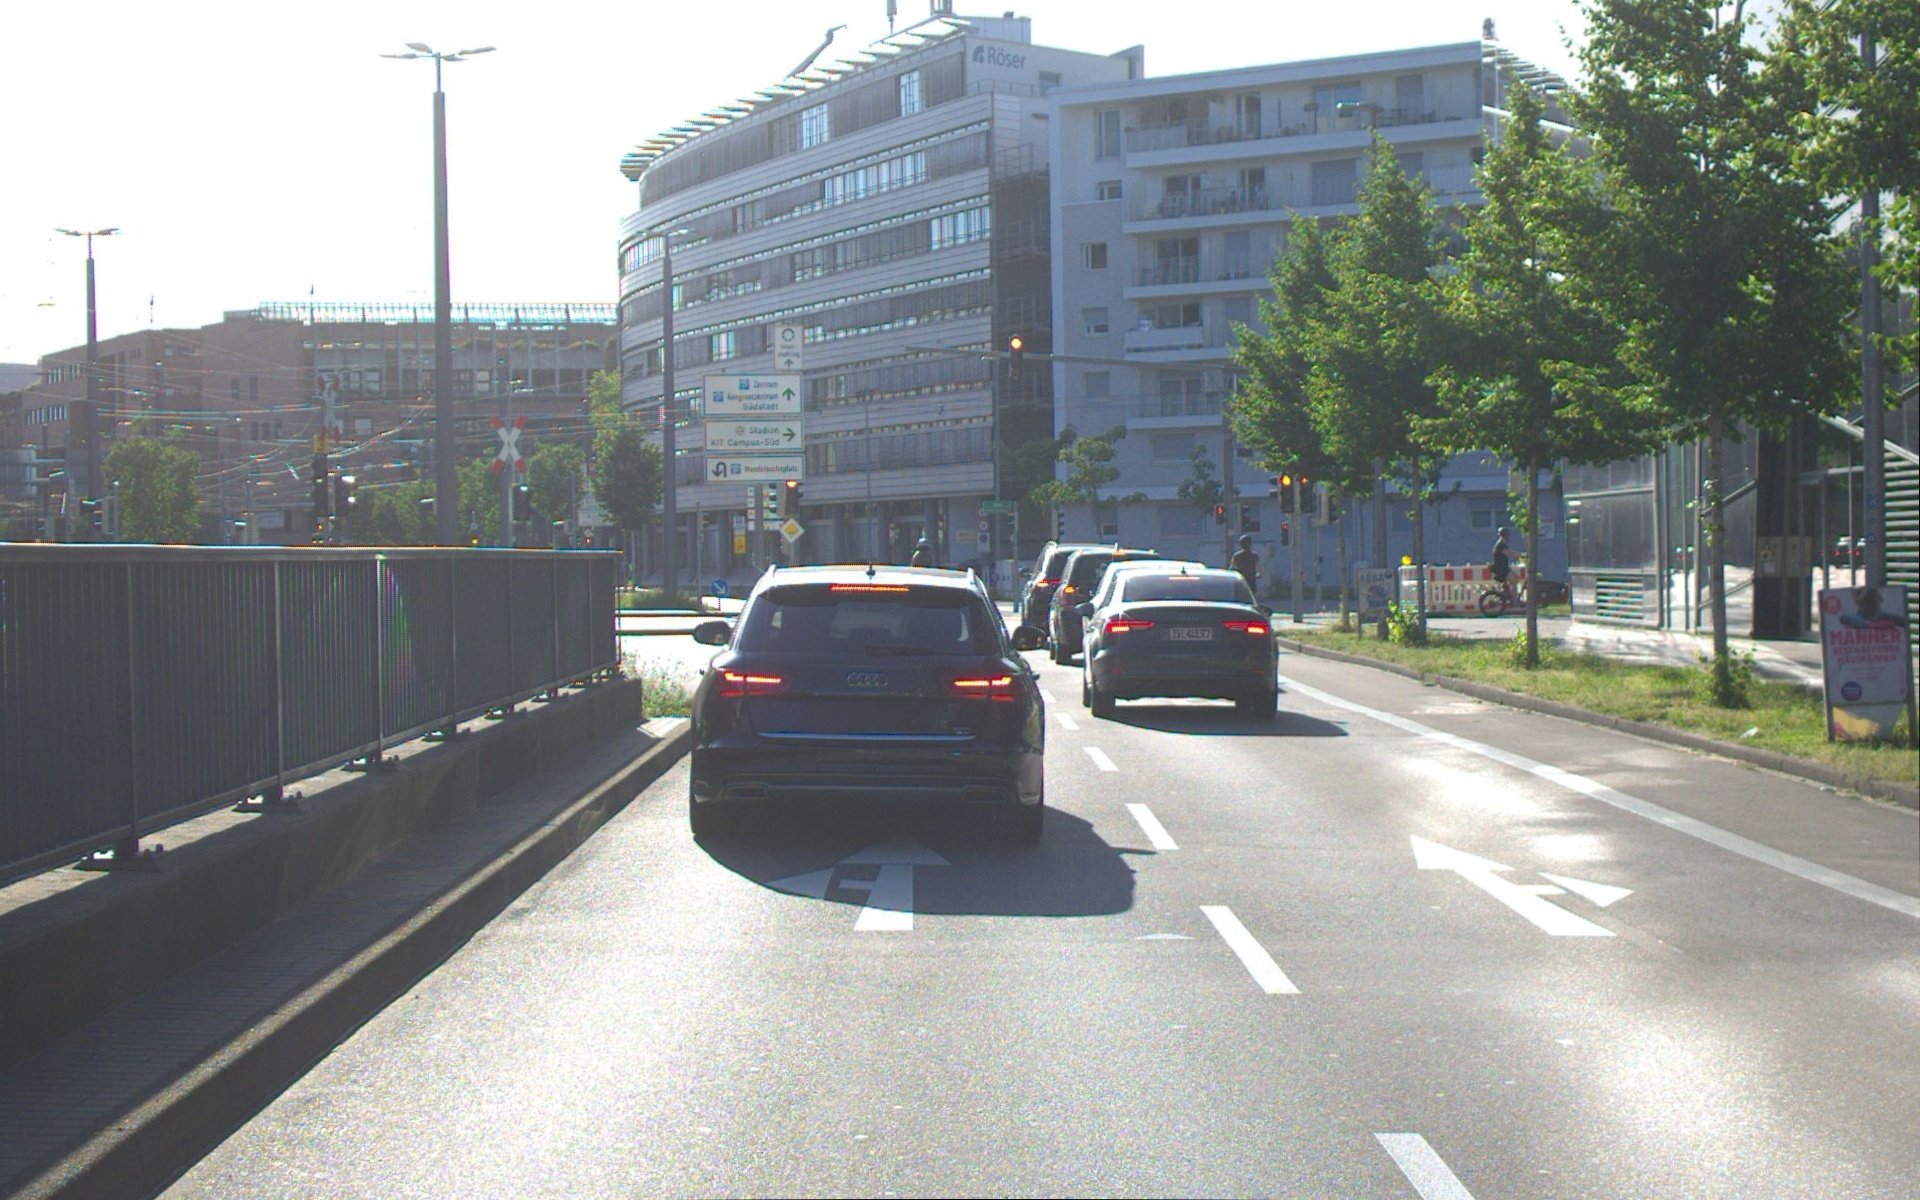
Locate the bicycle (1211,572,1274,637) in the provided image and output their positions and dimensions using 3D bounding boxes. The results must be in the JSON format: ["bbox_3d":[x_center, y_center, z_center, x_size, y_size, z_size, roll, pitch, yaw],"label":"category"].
[{"bbox_3d":[5.261,0.073,64.159,0.724,1.180,2.094,-2,1,-7],"label":"bicycle"}]

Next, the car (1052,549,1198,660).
[{"bbox_3d":[2.337,0.034,49.394,1.993,1.460,4.000,0,2,2],"label":"car"}]

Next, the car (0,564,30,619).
[{"bbox_3d":[-31.138,-0.246,109.349,1.993,1.711,4.000,-2,1,-1],"label":"car"}]

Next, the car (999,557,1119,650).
[{"bbox_3d":[1.691,0.030,59.197,1.993,1.460,4.000,0,2,1],"label":"car"}]

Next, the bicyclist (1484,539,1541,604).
[{"bbox_3d":[11.094,-0.583,69.014,1.032,1.264,0.726,-2,1,4],"label":"bicyclist"}]

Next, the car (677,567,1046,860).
[{"bbox_3d":[-0.528,0.543,19.368,1.812,1.422,4.690,-1,0,-1],"label":"car"}]

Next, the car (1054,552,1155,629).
[{"bbox_3d":[2.953,-0.224,70.860,1.993,1.460,4.000,0,2,1],"label":"car"}]

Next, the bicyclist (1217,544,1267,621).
[{"bbox_3d":[5.261,-0.332,64.176,0.724,1.413,0.891,-2,1,-7],"label":"bicyclist"}]

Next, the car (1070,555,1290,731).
[{"bbox_3d":[2.053,0.360,33.061,1.852,1.541,4.000,1,1,0],"label":"car"}]

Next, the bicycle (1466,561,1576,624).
[{"bbox_3d":[11.244,-0.144,68.996,2.087,1.180,0.726,-2,1,4],"label":"bicycle"}]
